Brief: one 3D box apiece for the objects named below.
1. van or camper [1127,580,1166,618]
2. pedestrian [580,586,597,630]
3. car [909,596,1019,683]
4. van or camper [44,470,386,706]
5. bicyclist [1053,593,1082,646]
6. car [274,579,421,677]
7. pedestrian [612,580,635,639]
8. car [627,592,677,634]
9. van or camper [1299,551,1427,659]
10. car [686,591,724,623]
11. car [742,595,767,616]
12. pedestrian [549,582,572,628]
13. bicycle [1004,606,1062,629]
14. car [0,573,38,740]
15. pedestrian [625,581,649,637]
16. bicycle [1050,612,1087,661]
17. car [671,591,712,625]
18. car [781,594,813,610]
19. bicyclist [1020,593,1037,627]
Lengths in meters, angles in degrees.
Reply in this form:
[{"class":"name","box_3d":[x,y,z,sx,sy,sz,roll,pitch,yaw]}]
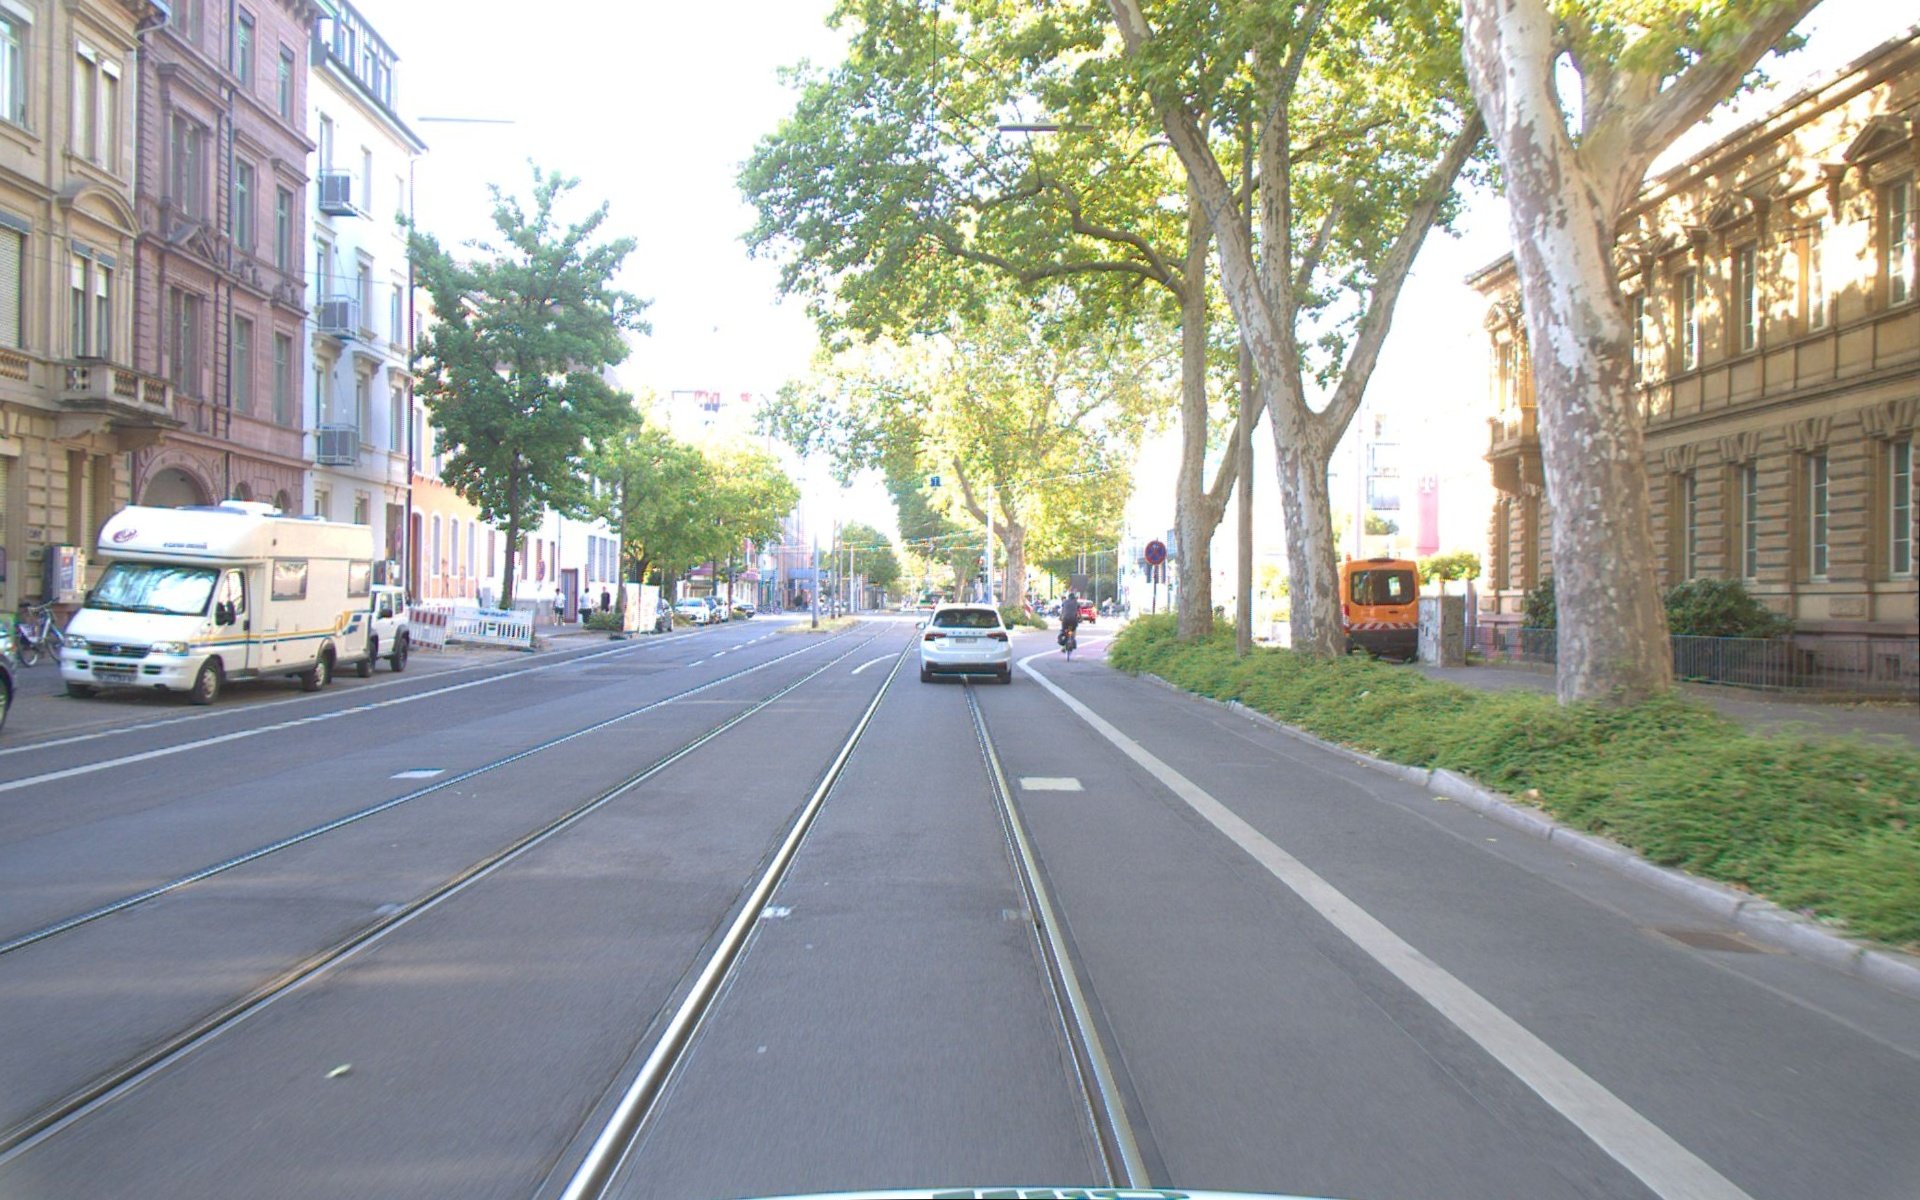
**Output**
[{"class":"van or camper","box_3d":[12.067,-0.078,107.450,1.953,2.384,3.999,2,0,-1]},{"class":"pedestrian","box_3d":[-15.628,0.329,69.620,0.589,1.803,0.700,2,0,-8]},{"class":"car","box_3d":[0.017,0.705,31.370,1.806,1.506,3.835,2,0,-4]},{"class":"van or camper","box_3d":[-11.494,-0.169,26.345,2.171,3.195,7.113,1,0,0]},{"class":"bicyclist","box_3d":[2.805,0.507,43.239,0.665,1.362,0.525,2,0,-2]},{"class":"car","box_3d":[-11.910,0.518,32.406,1.608,1.756,3.782,1,0,-3]},{"class":"pedestrian","box_3d":[-11.955,0.337,58.743,0.588,2.037,0.750,1,0,3]},{"class":"car","box_3d":[-13.551,0.551,72.900,1.608,1.756,3.782,1,0,-3]},{"class":"van or camper","box_3d":[10.144,0.131,42.042,1.985,2.507,5.108,2,0,0]},{"class":"car","box_3d":[-14.740,0.387,95.593,1.758,1.756,3.782,1,0,-3]},{"class":"car","box_3d":[-15.253,0.397,122.869,1.602,1.503,3.781,1,0,-4]},{"class":"pedestrian","box_3d":[-17.923,0.226,74.276,0.735,2.037,0.646,1,0,37]},{"class":"bicycle","box_3d":[3.544,0.826,80.228,2.711,1.017,0.593,2,0,13]},{"class":"car","box_3d":[-11.241,0.587,16.309,1.925,1.812,4.468,1,0,-3]},{"class":"pedestrian","box_3d":[-11.911,0.326,60.974,0.633,2.037,0.750,1,0,3]},{"class":"bicycle","box_3d":[2.808,0.926,43.037,0.666,1.175,2.963,2,0,-2]},{"class":"car","box_3d":[-14.527,0.441,89.649,1.758,1.756,3.782,1,0,-3]},{"class":"car","box_3d":[-20.683,0.278,210.346,3.713,1.850,1.804,2,0,4]},{"class":"bicyclist","box_3d":[3.330,0.473,80.286,0.721,1.617,0.587,0,0,11]}]
